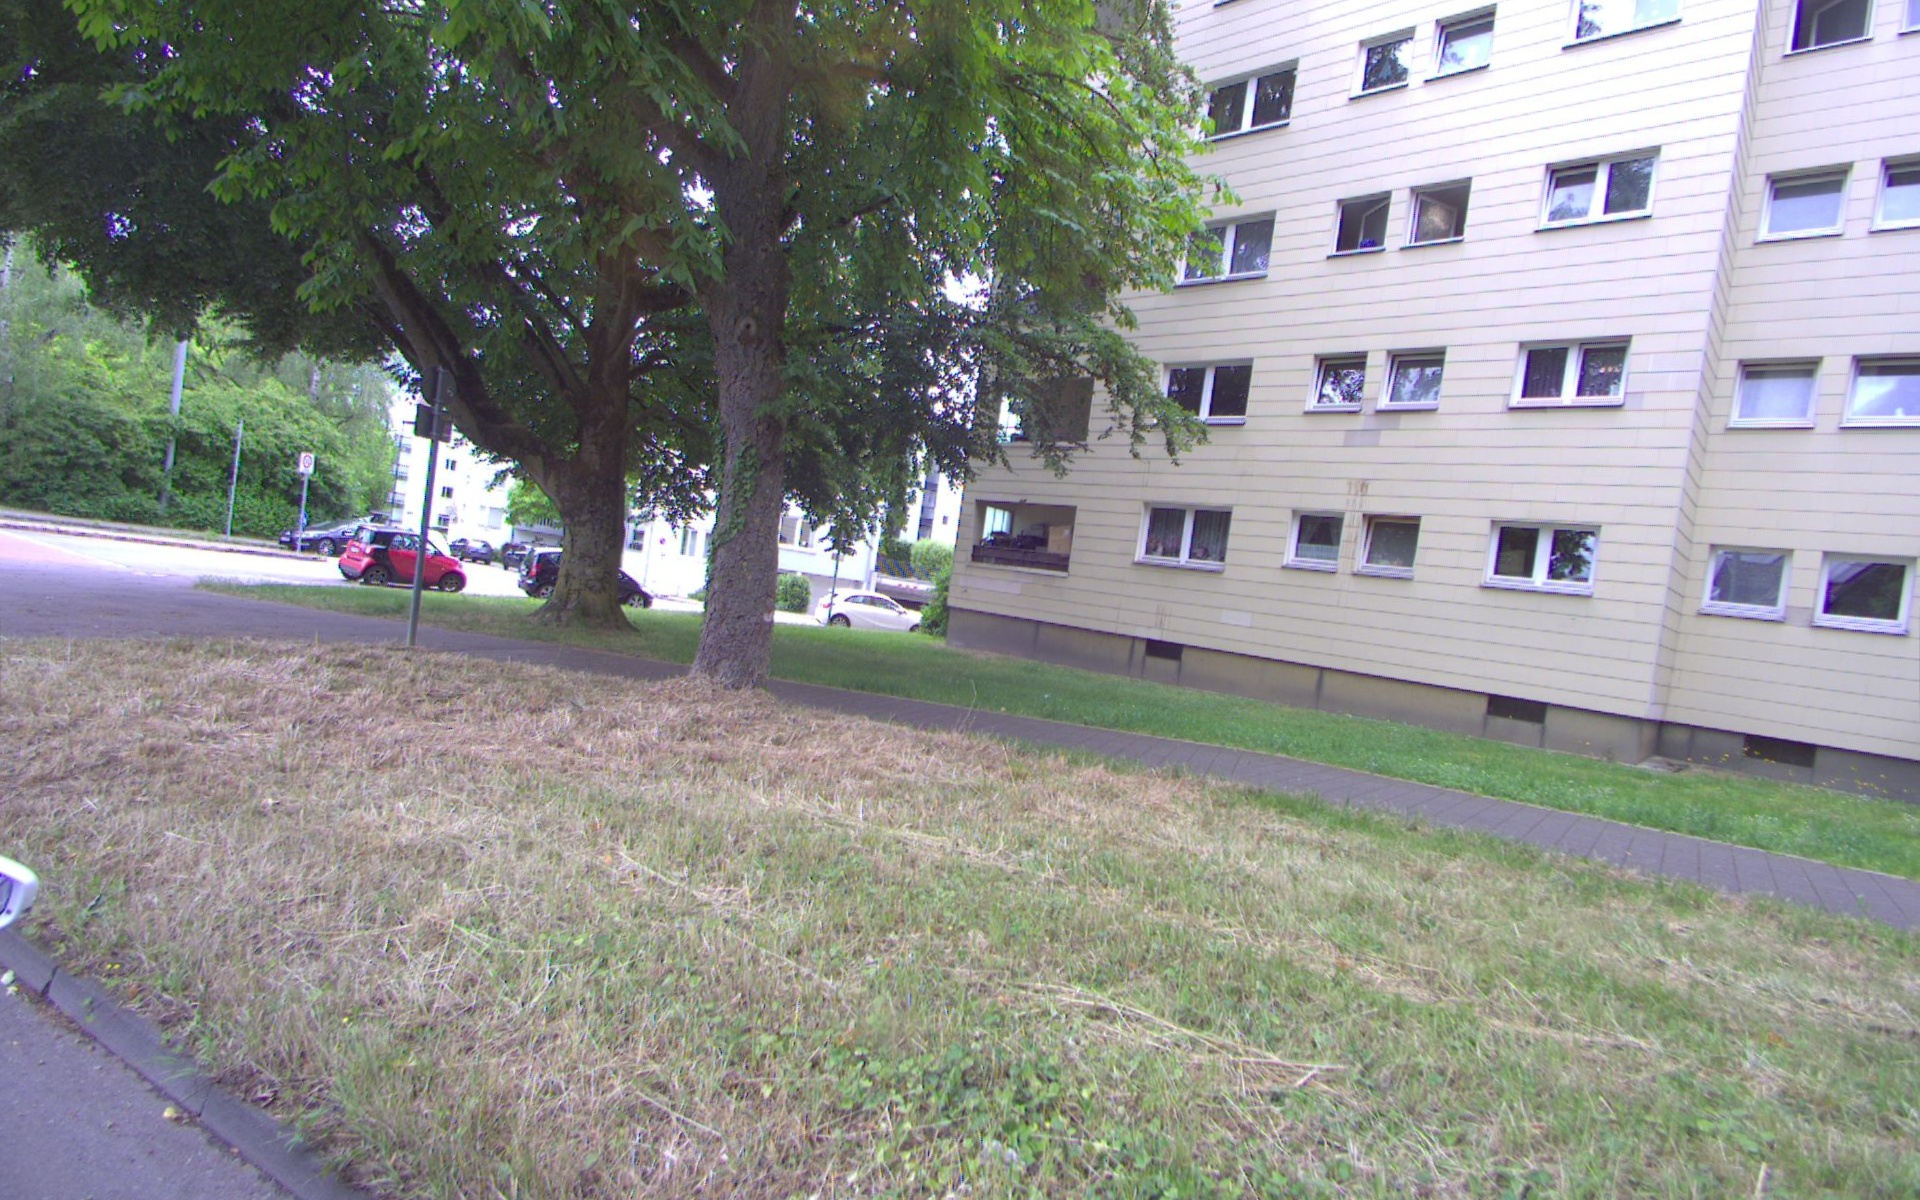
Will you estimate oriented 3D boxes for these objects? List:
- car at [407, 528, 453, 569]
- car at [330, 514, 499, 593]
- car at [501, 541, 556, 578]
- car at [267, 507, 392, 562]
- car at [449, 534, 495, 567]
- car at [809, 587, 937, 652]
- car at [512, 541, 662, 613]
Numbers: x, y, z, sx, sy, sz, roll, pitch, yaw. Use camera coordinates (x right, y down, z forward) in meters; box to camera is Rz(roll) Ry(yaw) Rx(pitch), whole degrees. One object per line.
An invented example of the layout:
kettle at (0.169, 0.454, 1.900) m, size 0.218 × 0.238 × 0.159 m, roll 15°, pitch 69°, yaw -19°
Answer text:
car at (-24.890, -2.446, 47.189) m, size 1.709 × 1.631 × 3.823 m, roll 6°, pitch 1°, yaw -30°
car at (-14.541, -1.209, 26.954) m, size 1.702 × 1.631 × 3.516 m, roll 8°, pitch 1°, yaw 37°
car at (-23.200, -2.202, 54.077) m, size 1.713 × 1.631 × 3.813 m, roll 6°, pitch 1°, yaw -38°
car at (-23.415, -2.407, 37.438) m, size 1.702 × 1.549 × 3.515 m, roll 8°, pitch 1°, yaw 38°
car at (-30.125, -3.078, 62.030) m, size 1.713 × 1.631 × 3.813 m, roll 6°, pitch 1°, yaw -38°
car at (-2.899, 0.631, 33.316) m, size 3.796 × 1.631 × 1.721 m, roll 7°, pitch 1°, yaw -18°
car at (-11.071, -0.676, 29.928) m, size 3.814 × 1.631 × 1.713 m, roll 6°, pitch 1°, yaw -33°
